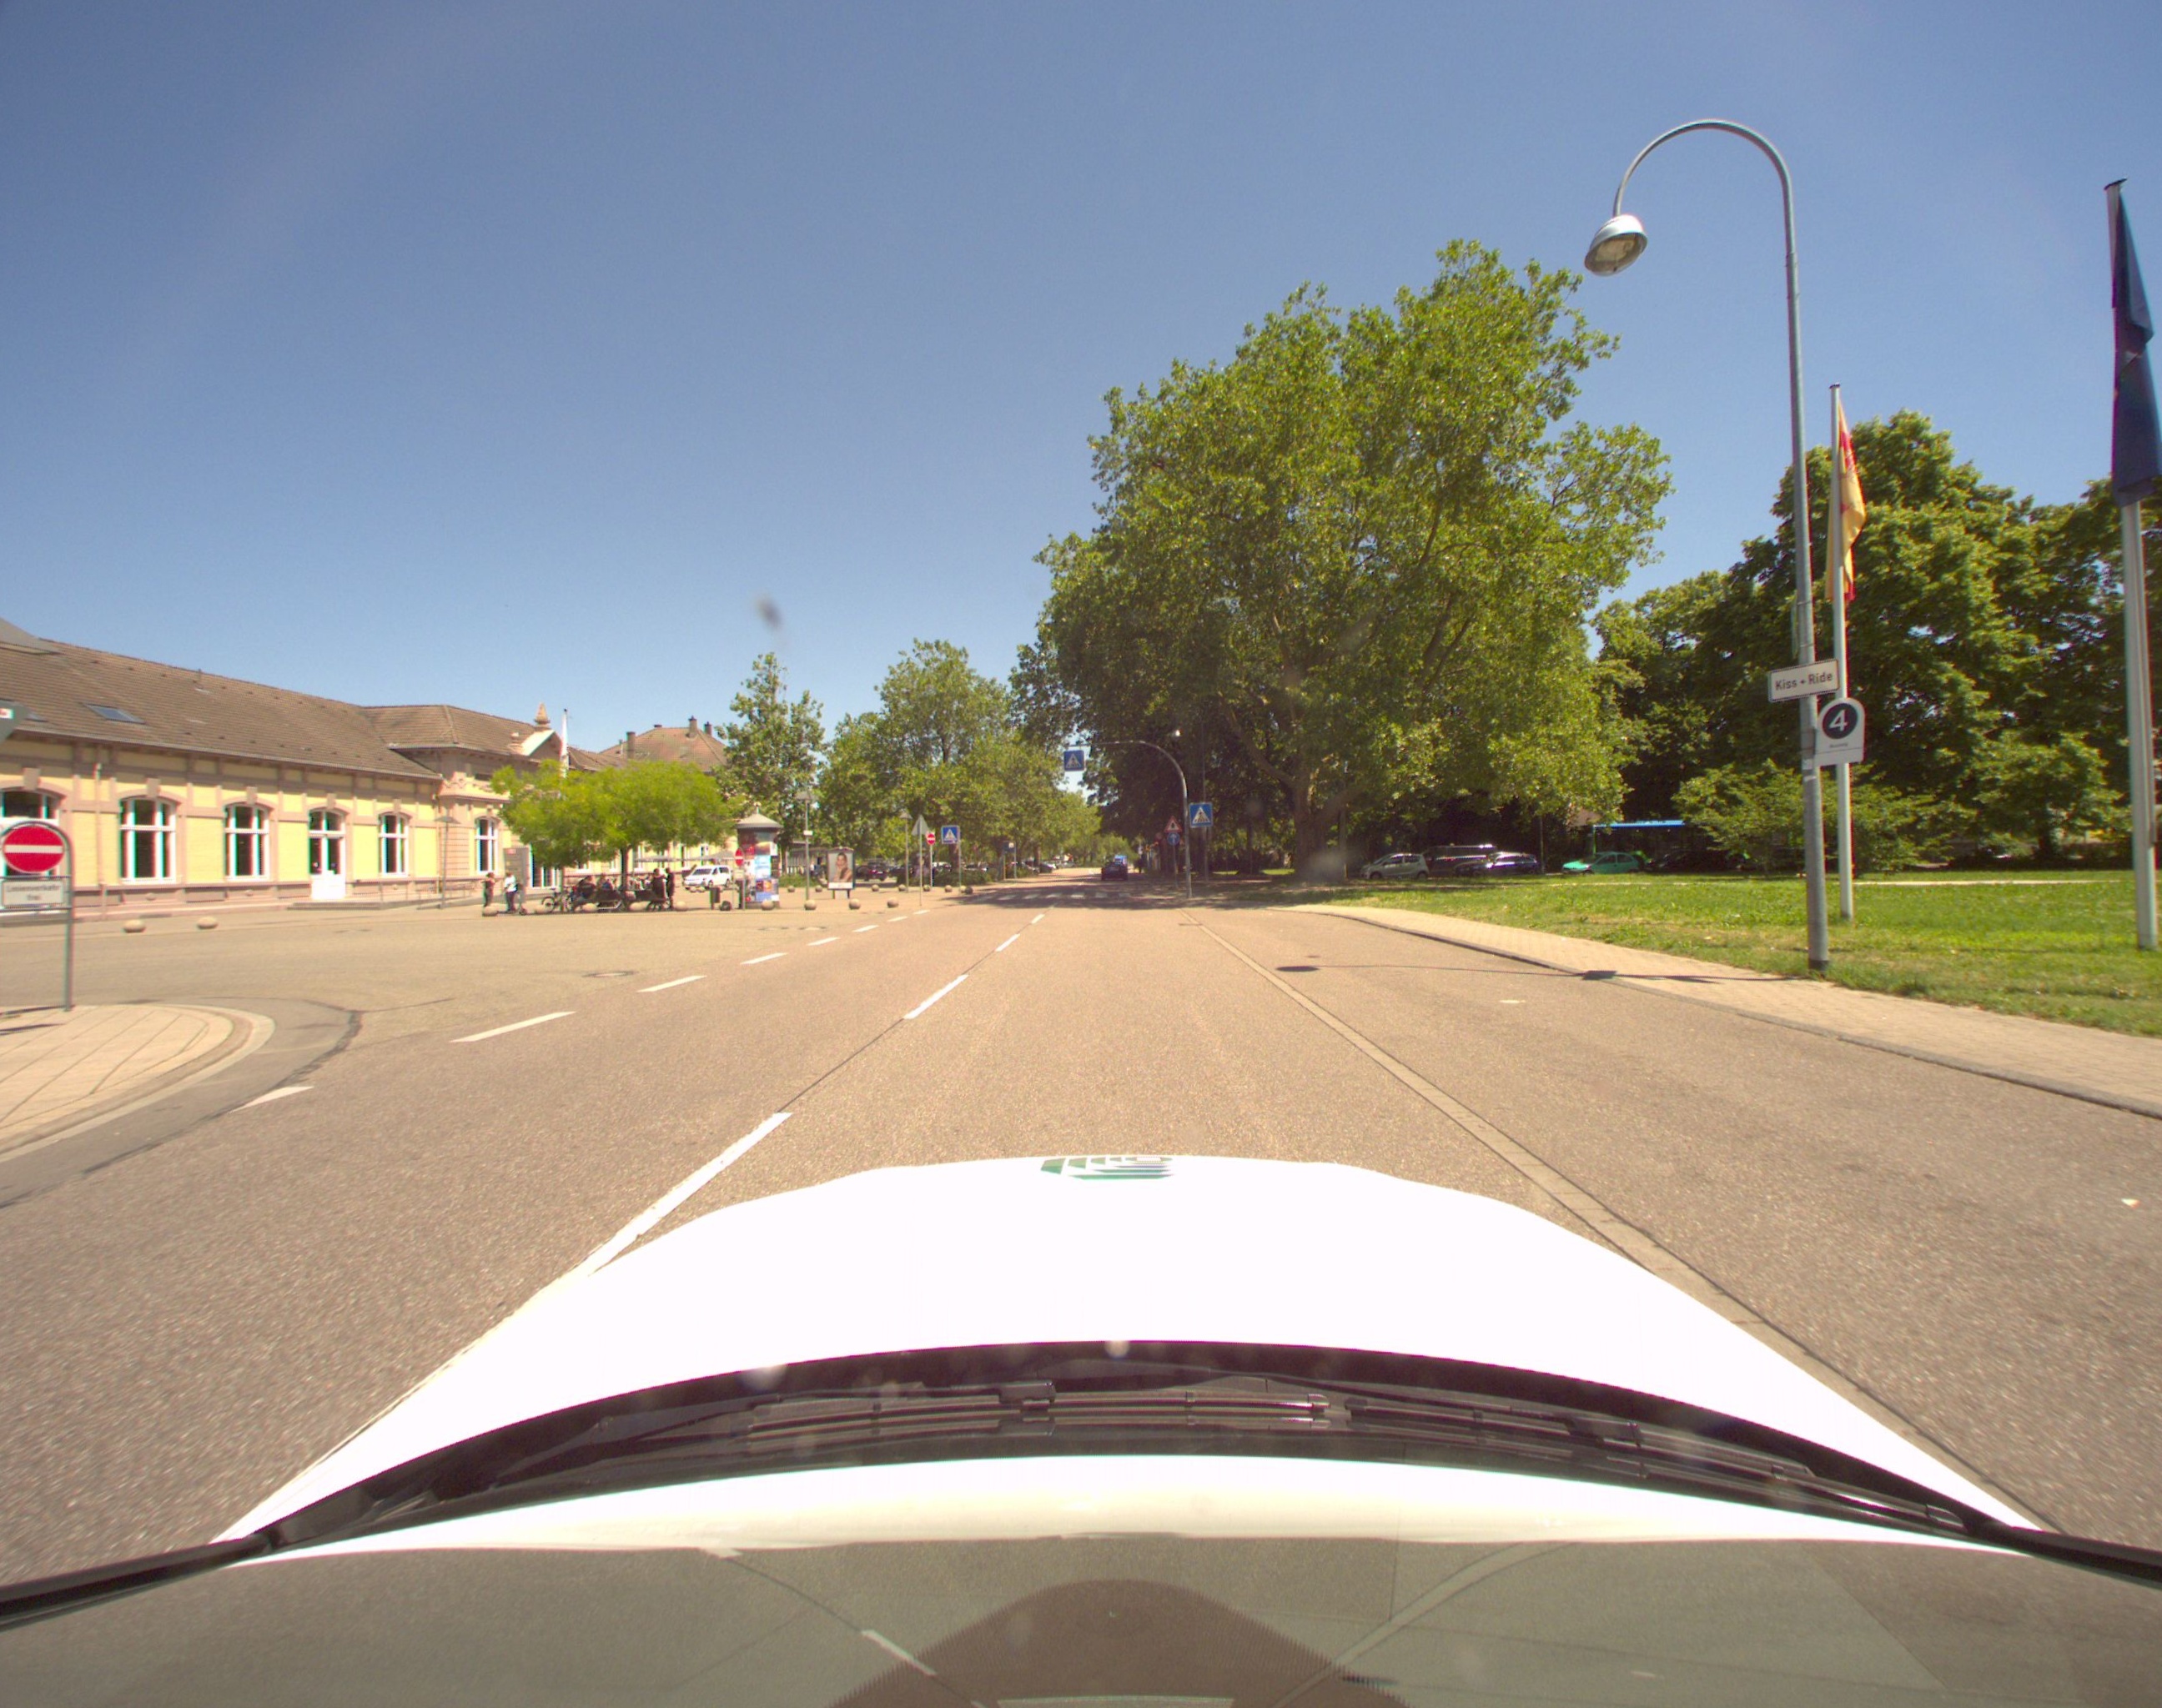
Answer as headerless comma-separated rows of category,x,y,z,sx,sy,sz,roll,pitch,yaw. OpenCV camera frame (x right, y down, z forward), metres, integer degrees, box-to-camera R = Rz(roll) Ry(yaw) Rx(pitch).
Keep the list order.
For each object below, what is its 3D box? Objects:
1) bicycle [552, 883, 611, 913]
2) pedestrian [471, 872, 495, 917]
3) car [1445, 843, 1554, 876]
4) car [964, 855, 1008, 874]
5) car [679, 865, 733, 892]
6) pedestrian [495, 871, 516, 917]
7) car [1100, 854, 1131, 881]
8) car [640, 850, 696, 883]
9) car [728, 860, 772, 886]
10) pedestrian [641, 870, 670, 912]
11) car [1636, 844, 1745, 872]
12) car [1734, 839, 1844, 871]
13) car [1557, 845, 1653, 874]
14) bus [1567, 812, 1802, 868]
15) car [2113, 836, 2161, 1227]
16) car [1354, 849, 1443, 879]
bicycle,-18.642,1.640,30.423,1.800,1.030,0.485,-1,-1,-22
pedestrian,-22.619,1.538,30.789,0.661,1.673,0.623,1,-3,-44
car,22.448,0.278,43.847,4.800,1.607,2.003,-2,0,5
car,-9.336,1.026,79.662,3.996,1.782,1.989,-1,-2,-16
car,-28.375,1.809,61.810,1.744,1.917,4.777,-2,-1,2
pedestrian,-22.128,1.539,31.319,0.589,1.710,0.580,1,-3,-44
car,2.462,0.971,58.546,2.117,1.848,4.048,-1,-1,1
car,-31.817,0.946,62.949,1.713,2.468,5.005,0,-1,1
car,-27.941,1.577,68.881,1.986,2.013,4.001,-2,0,2
pedestrian,-17.383,1.499,33.260,0.754,1.659,0.724,-2,-2,19
car,32.737,0.250,43.807,4.320,1.416,2.001,-1,-2,2
car,37.900,0.067,43.678,4.079,1.609,2.002,-1,-2,3
car,28.073,0.318,43.744,3.864,1.454,2.001,-1,-2,3
bus,36.426,-0.799,49.407,12.331,2.978,2.269,-2,-1,1
car,4.740,0.636,1.269,1.710,1.478,3.712,-2,-1,6
car,17.262,0.545,44.466,4.085,1.466,2.003,-2,0,5
